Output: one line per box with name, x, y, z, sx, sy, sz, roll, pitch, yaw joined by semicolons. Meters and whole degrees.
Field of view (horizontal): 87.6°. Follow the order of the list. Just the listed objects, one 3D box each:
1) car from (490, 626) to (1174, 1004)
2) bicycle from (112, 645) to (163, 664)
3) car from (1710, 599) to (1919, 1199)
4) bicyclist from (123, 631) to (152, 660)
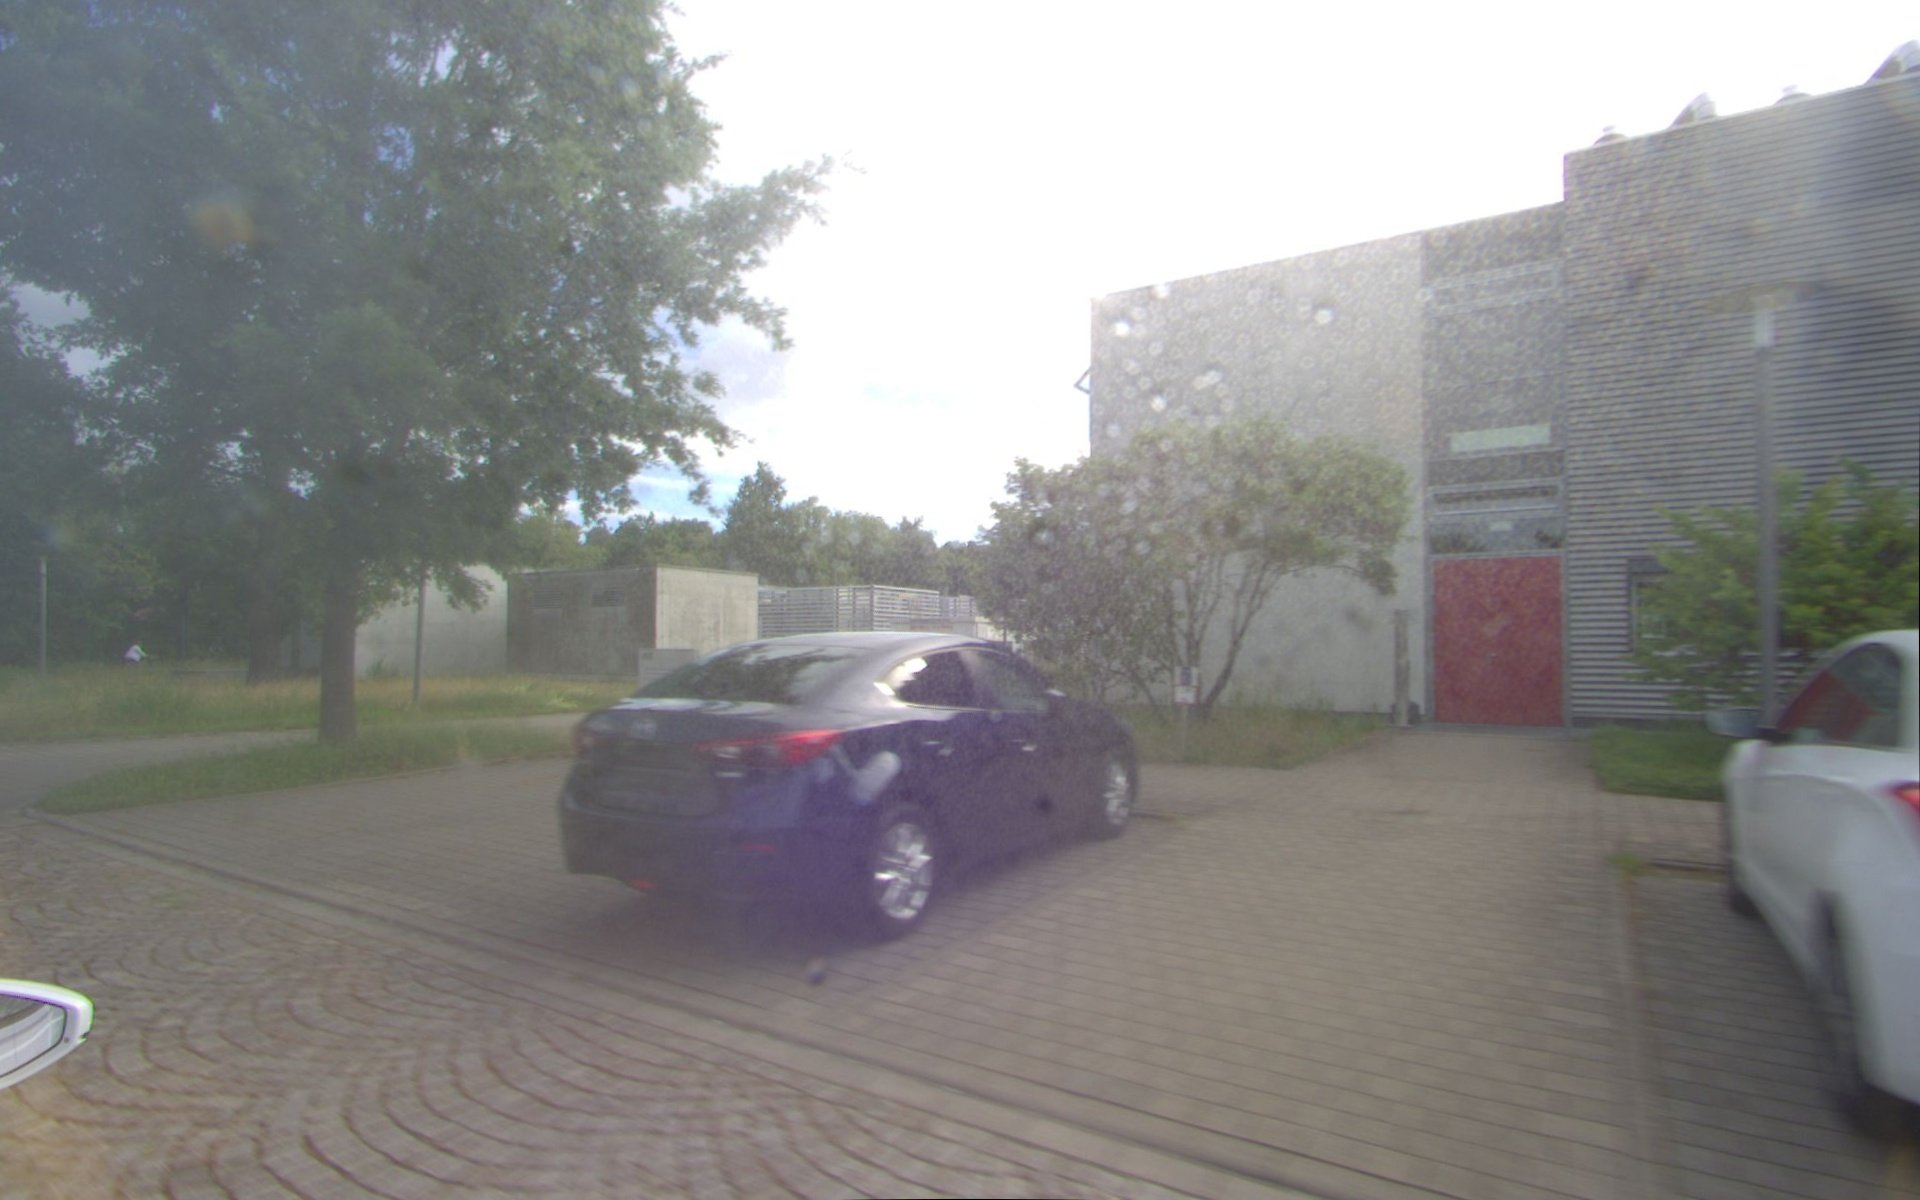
car;-0.341;0.904;6.323;1.916;1.465;4.456;-1;-2;32
bicycle;-34.293;2.268;41.759;0.579;0.801;1.514;-1;-3;32
car;4.026;0.792;3.534;1.856;1.485;3.970;-1;-2;32
bicyclist;-34.306;1.893;41.751;0.580;1.222;0.768;-1;-2;32
